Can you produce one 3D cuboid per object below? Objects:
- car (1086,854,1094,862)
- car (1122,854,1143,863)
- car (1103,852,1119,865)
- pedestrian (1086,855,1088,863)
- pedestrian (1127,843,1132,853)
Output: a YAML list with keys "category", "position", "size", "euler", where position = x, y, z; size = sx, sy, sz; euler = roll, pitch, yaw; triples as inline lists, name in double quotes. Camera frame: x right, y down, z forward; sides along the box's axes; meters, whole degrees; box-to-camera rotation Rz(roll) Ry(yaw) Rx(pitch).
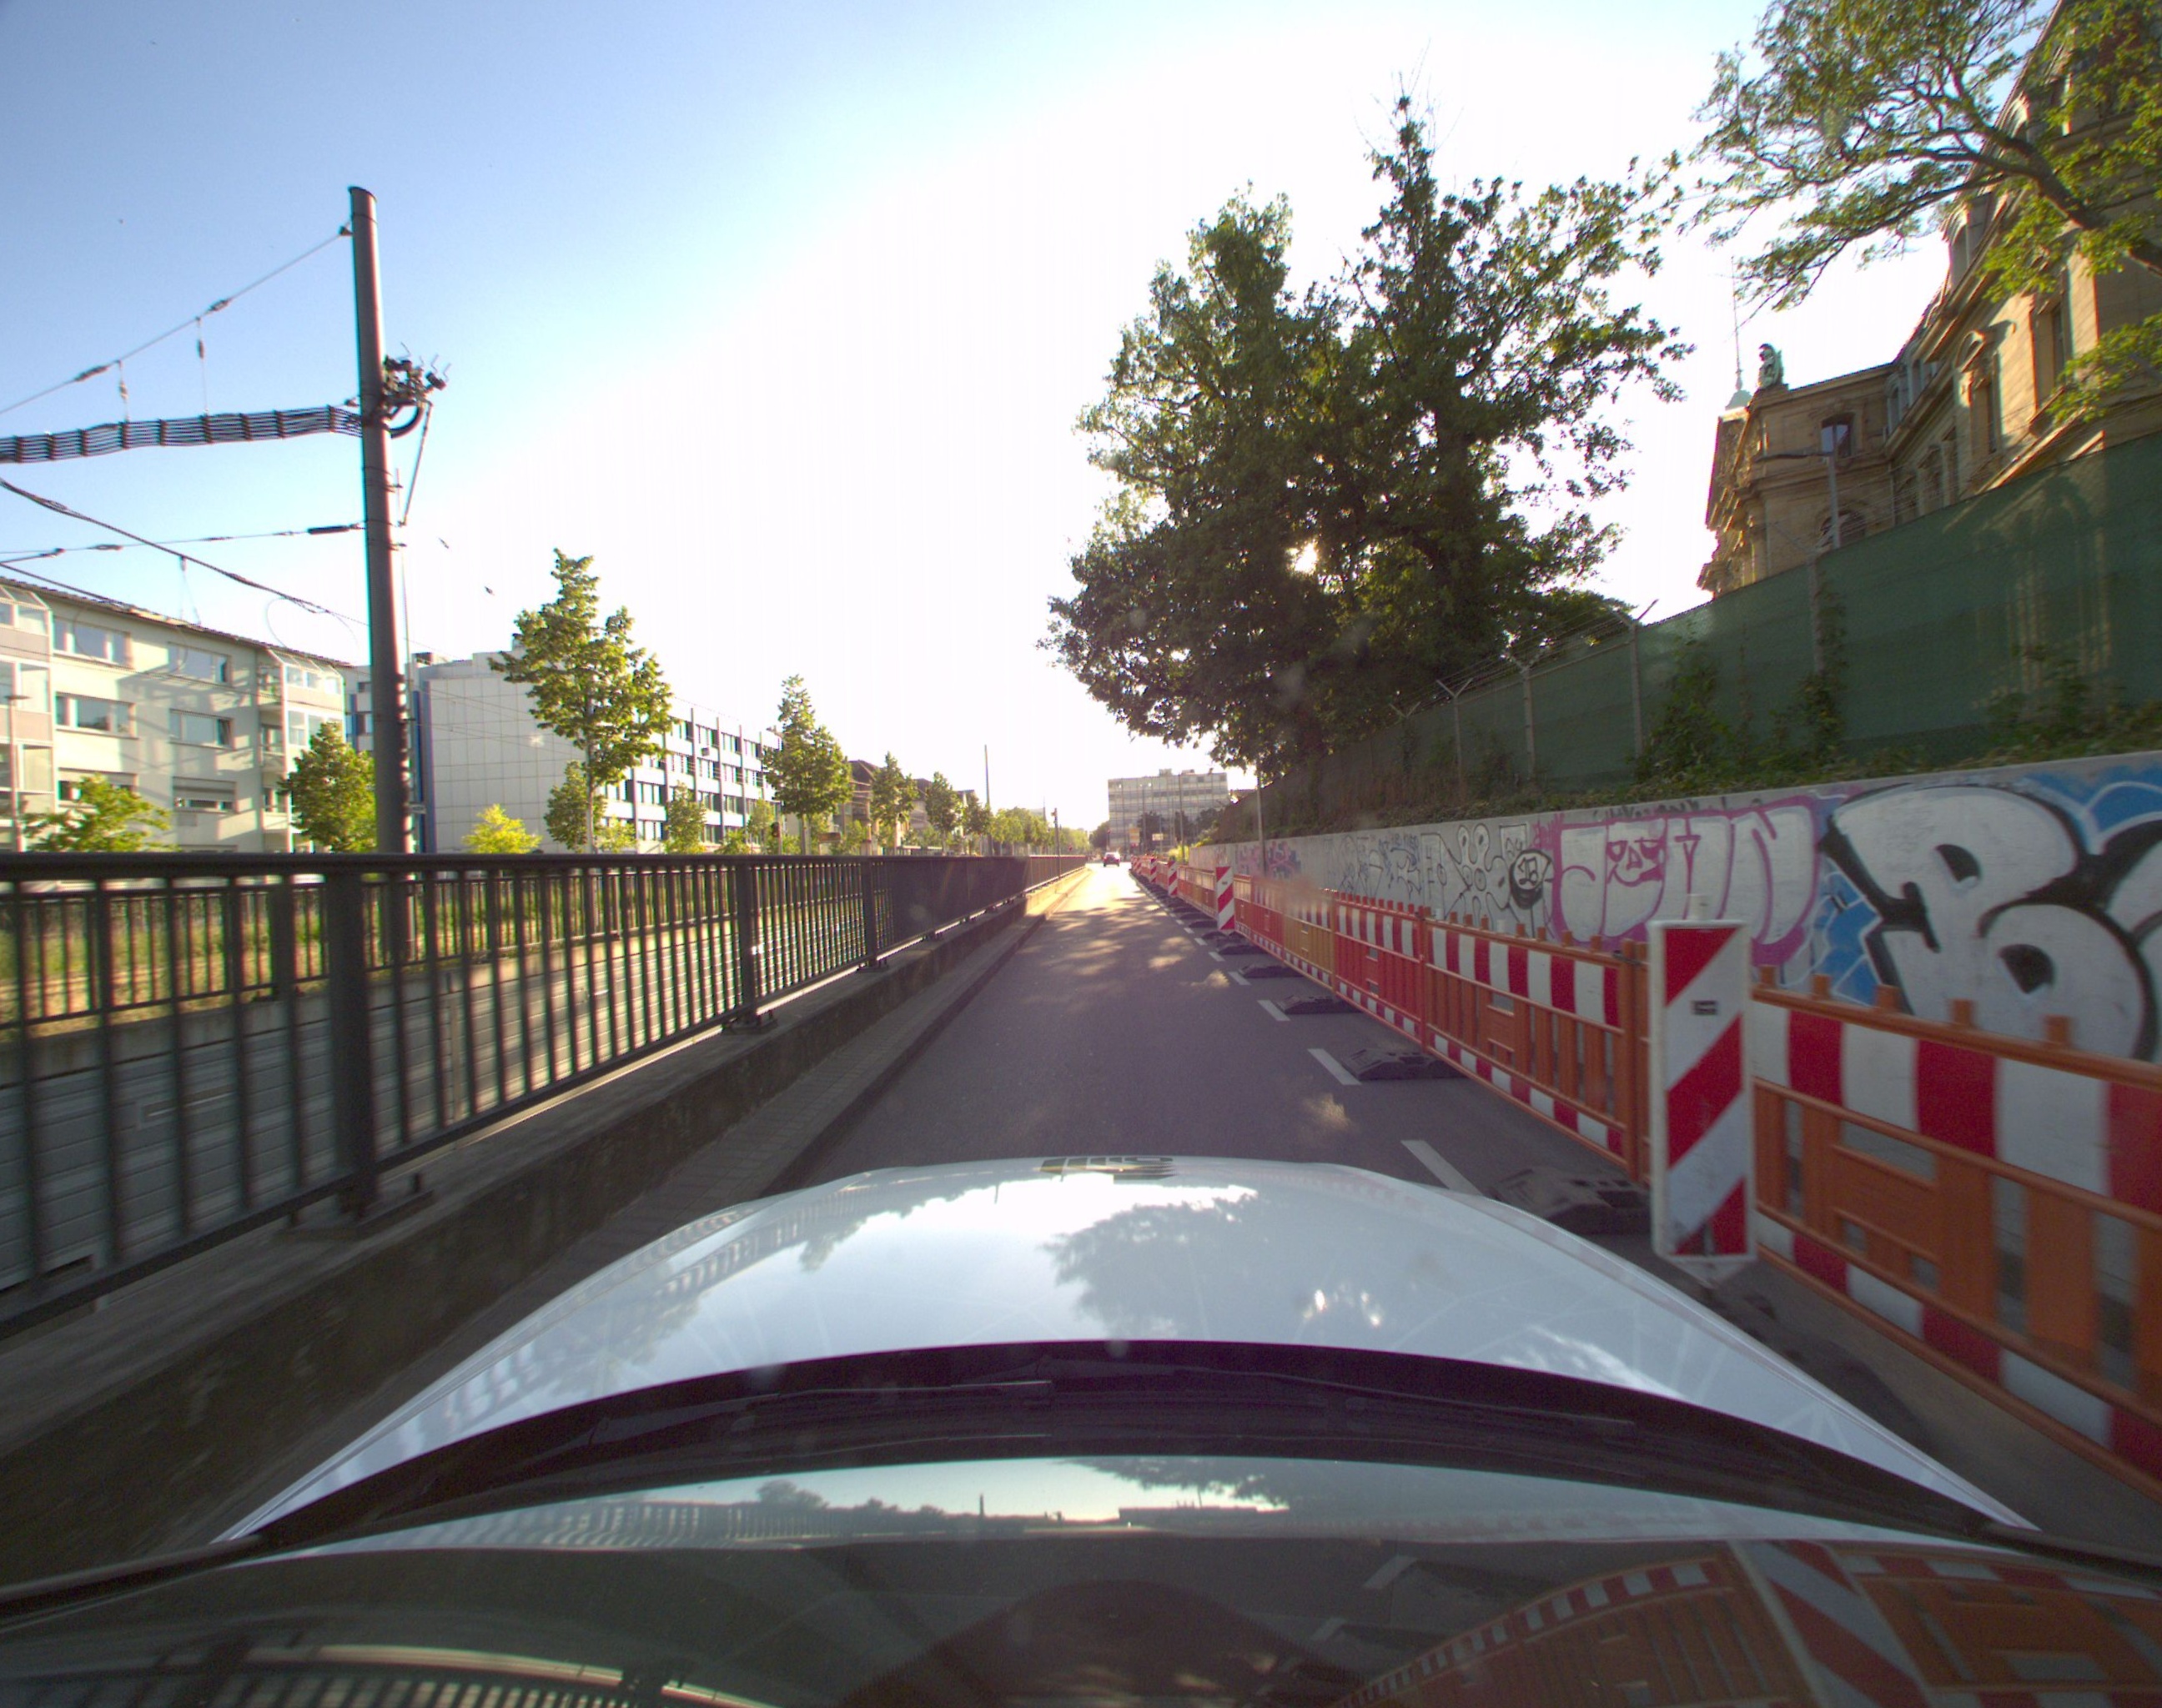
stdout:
- category: "car"
  position: [2.091, 0.864, 190.433]
  size: [1.987, 1.617, 4.001]
  euler: [-2, 1, 1]
- category: "car"
  position: [10.212, 0.866, 161.464]
  size: [3.967, 1.640, 2.003]
  euler: [-1, -1, 6]
- category: "car"
  position: [3.811, 0.580, 102.241]
  size: [1.997, 1.659, 4.003]
  euler: [-1, -1, 3]
- category: "pedestrian"
  position: [1.106, 0.931, 155.132]
  size: [0.277, 1.575, 0.436]
  euler: [0, -1, -24]
- category: "pedestrian"
  position: [10.654, -1.263, 179.232]
  size: [0.887, 2.112, 0.719]
  euler: [-2, 0, 7]
